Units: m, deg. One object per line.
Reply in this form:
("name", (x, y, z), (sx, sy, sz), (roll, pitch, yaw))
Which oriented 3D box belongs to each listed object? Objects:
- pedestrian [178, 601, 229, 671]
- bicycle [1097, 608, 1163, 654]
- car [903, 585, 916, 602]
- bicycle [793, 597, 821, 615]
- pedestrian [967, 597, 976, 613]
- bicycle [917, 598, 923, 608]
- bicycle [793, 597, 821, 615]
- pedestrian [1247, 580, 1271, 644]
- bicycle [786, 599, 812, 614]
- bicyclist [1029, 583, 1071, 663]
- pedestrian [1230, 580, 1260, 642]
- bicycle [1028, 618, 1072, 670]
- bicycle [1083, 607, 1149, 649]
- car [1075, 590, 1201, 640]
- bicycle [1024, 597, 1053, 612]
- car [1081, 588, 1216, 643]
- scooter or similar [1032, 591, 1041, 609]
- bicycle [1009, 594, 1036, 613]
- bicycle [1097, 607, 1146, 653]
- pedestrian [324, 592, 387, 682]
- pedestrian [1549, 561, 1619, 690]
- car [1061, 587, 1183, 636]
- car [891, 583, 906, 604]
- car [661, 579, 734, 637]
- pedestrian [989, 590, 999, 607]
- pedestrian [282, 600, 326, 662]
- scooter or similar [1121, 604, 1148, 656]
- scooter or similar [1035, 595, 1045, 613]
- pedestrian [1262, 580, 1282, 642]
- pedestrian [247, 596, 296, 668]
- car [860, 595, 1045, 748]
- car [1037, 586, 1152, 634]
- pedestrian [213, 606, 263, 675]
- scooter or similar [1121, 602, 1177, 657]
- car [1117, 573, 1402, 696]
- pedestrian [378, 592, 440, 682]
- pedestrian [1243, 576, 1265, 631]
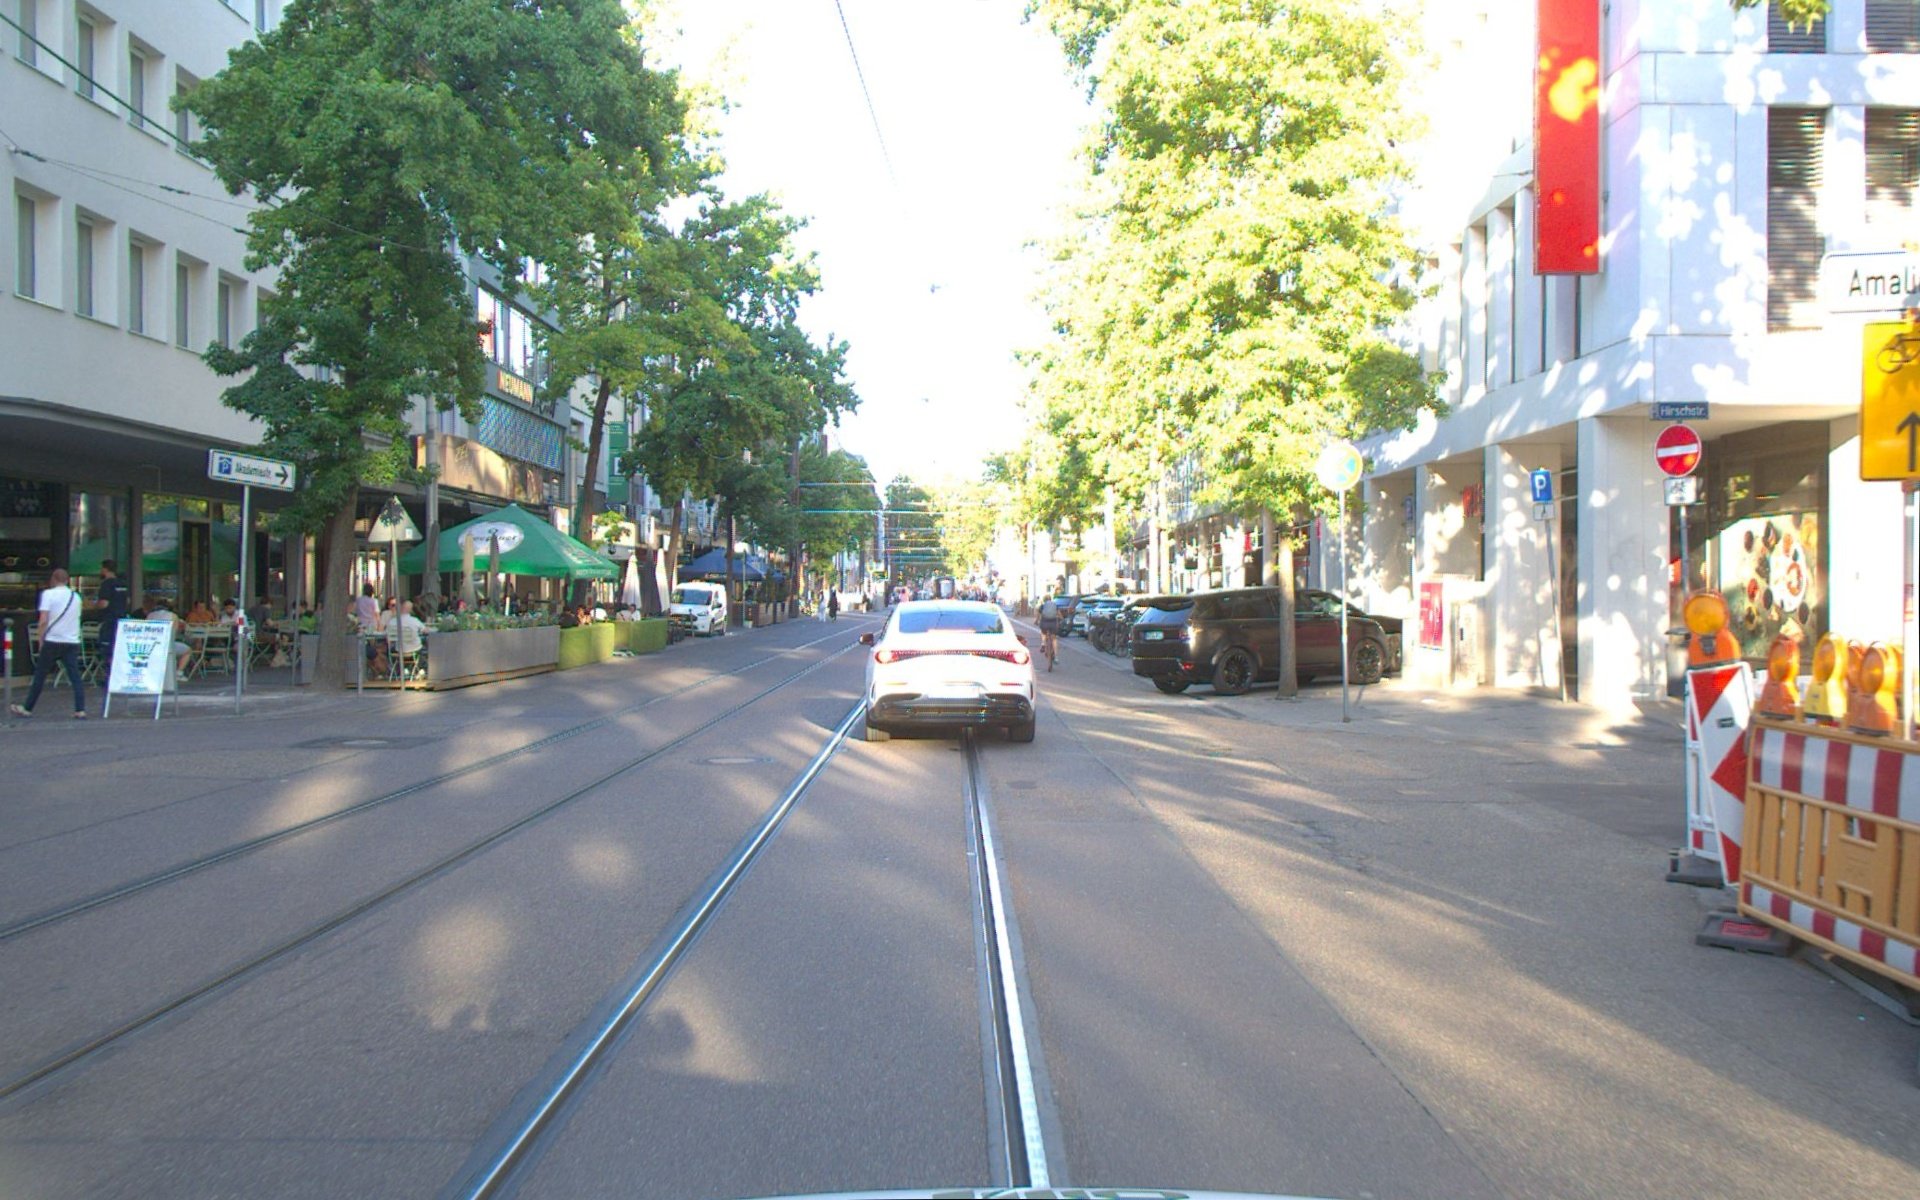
("pedestrian", (-13.258, 0.622, 28.984), (0.541, 1.182, 0.687), (2, 0, 0))
("bicycle", (4.568, 0.822, 44.506), (1.543, 1.107, 0.860), (-4, 2, -31))
("car", (-7.742, -0.957, 253.548), (1.871, 2.504, 5.274), (0, 0, 0))
("bicycle", (-9.784, 0.399, 105.870), (1.754, 1.096, 0.377), (1, 0, -5))
("pedestrian", (1.302, 0.532, 187.077), (0.941, 1.816, 0.803), (-2, 0, -1))
("bicycle", (-4.758, 0.397, 196.758), (0.784, 1.162, 2.256), (2, 0, -2))
("bicycle", (-9.811, 0.400, 106.305), (1.754, 1.096, 0.377), (1, 0, -5))
("pedestrian", (8.436, 0.346, 46.708), (0.512, 1.781, 0.559), (-2, 0, 1))
("bicycle", (-10.023, 0.401, 102.790), (1.561, 0.947, 0.377), (1, 0, 6))
("bicyclist", (1.906, 0.474, 34.908), (0.761, 1.641, 0.913), (2, 0, 8))
("pedestrian", (7.991, 0.309, 46.383), (0.667, 1.726, 0.548), (0, 0, -13))
("bicycle", (1.918, 0.908, 35.080), (0.703, 1.012, 2.060), (2, 0, 8))
("bicycle", (4.608, 0.810, 48.740), (1.870, 1.139, 0.661), (-3, 0, -30))
("car", (6.264, 0.515, 58.228), (4.093, 1.525, 1.676), (-3, 0, -24))
("bicycle", (6.003, 0.347, 126.199), (2.077, 1.115, 0.608), (-1, 0, -14))
("car", (6.110, 0.487, 53.532), (4.110, 1.598, 1.832), (-3, 1, -34))
("scooter or similar", (5.536, 0.015, 119.547), (0.518, 1.299, 0.658), (-2, 0, -12))
("bicycle", (4.689, 0.272, 123.870), (1.874, 1.303, 0.608), (-2, 0, -12))
("bicycle", (4.572, 0.843, 46.791), (0.472, 1.183, 1.687), (-3, 0, 39))
("pedestrian", (-9.746, 0.591, 26.705), (0.675, 1.410, 0.807), (2, 0, 0))
("pedestrian", (9.199, 0.375, 24.384), (0.740, 1.850, 0.801), (-3, -1, 32))
("car", (5.985, 0.418, 61.057), (4.194, 1.615, 1.864), (-3, 0, -32))
("car", (-8.738, -0.960, 234.885), (1.953, 2.948, 5.274), (0, 0, 0))
("car", (-9.344, 0.269, 59.254), (1.759, 1.897, 4.554), (3, 0, 1))
("pedestrian", (3.703, -0.160, 180.783), (0.941, 1.816, 0.803), (-2, 0, -1))
("pedestrian", (-12.734, 0.591, 32.104), (0.541, 1.182, 0.687), (2, 0, 0))
("scooter or similar", (4.531, 0.760, 43.028), (0.441, 1.298, 1.306), (-4, 0, -1))
("scooter or similar", (5.755, 0.286, 118.907), (0.482, 1.299, 0.658), (-2, 0, -12))
("pedestrian", (8.817, 0.314, 46.747), (0.506, 1.726, 0.550), (0, 0, 4))
("pedestrian", (-13.005, 0.592, 31.250), (0.590, 1.321, 0.687), (2, 0, 0))
("car", (-0.088, 0.705, 18.533), (1.819, 1.481, 4.174), (1, 0, -1))
("car", (5.292, 0.397, 64.930), (4.300, 1.681, 1.676), (-3, 0, -32))
("pedestrian", (-12.697, 0.700, 29.113), (0.541, 1.182, 0.687), (2, 0, 0))
("scooter or similar", (4.808, 0.755, 42.032), (1.290, 1.298, 0.558), (-4, 0, -32))
("car", (5.166, 0.552, 28.404), (4.603, 1.794, 1.974), (-3, 0, -30))
("pedestrian", (-8.910, 0.594, 26.766), (0.675, 1.410, 0.807), (2, 0, 0))
("pedestrian", (9.721, 0.115, 54.734), (0.545, 1.781, 0.525), (-2, 0, 0))
